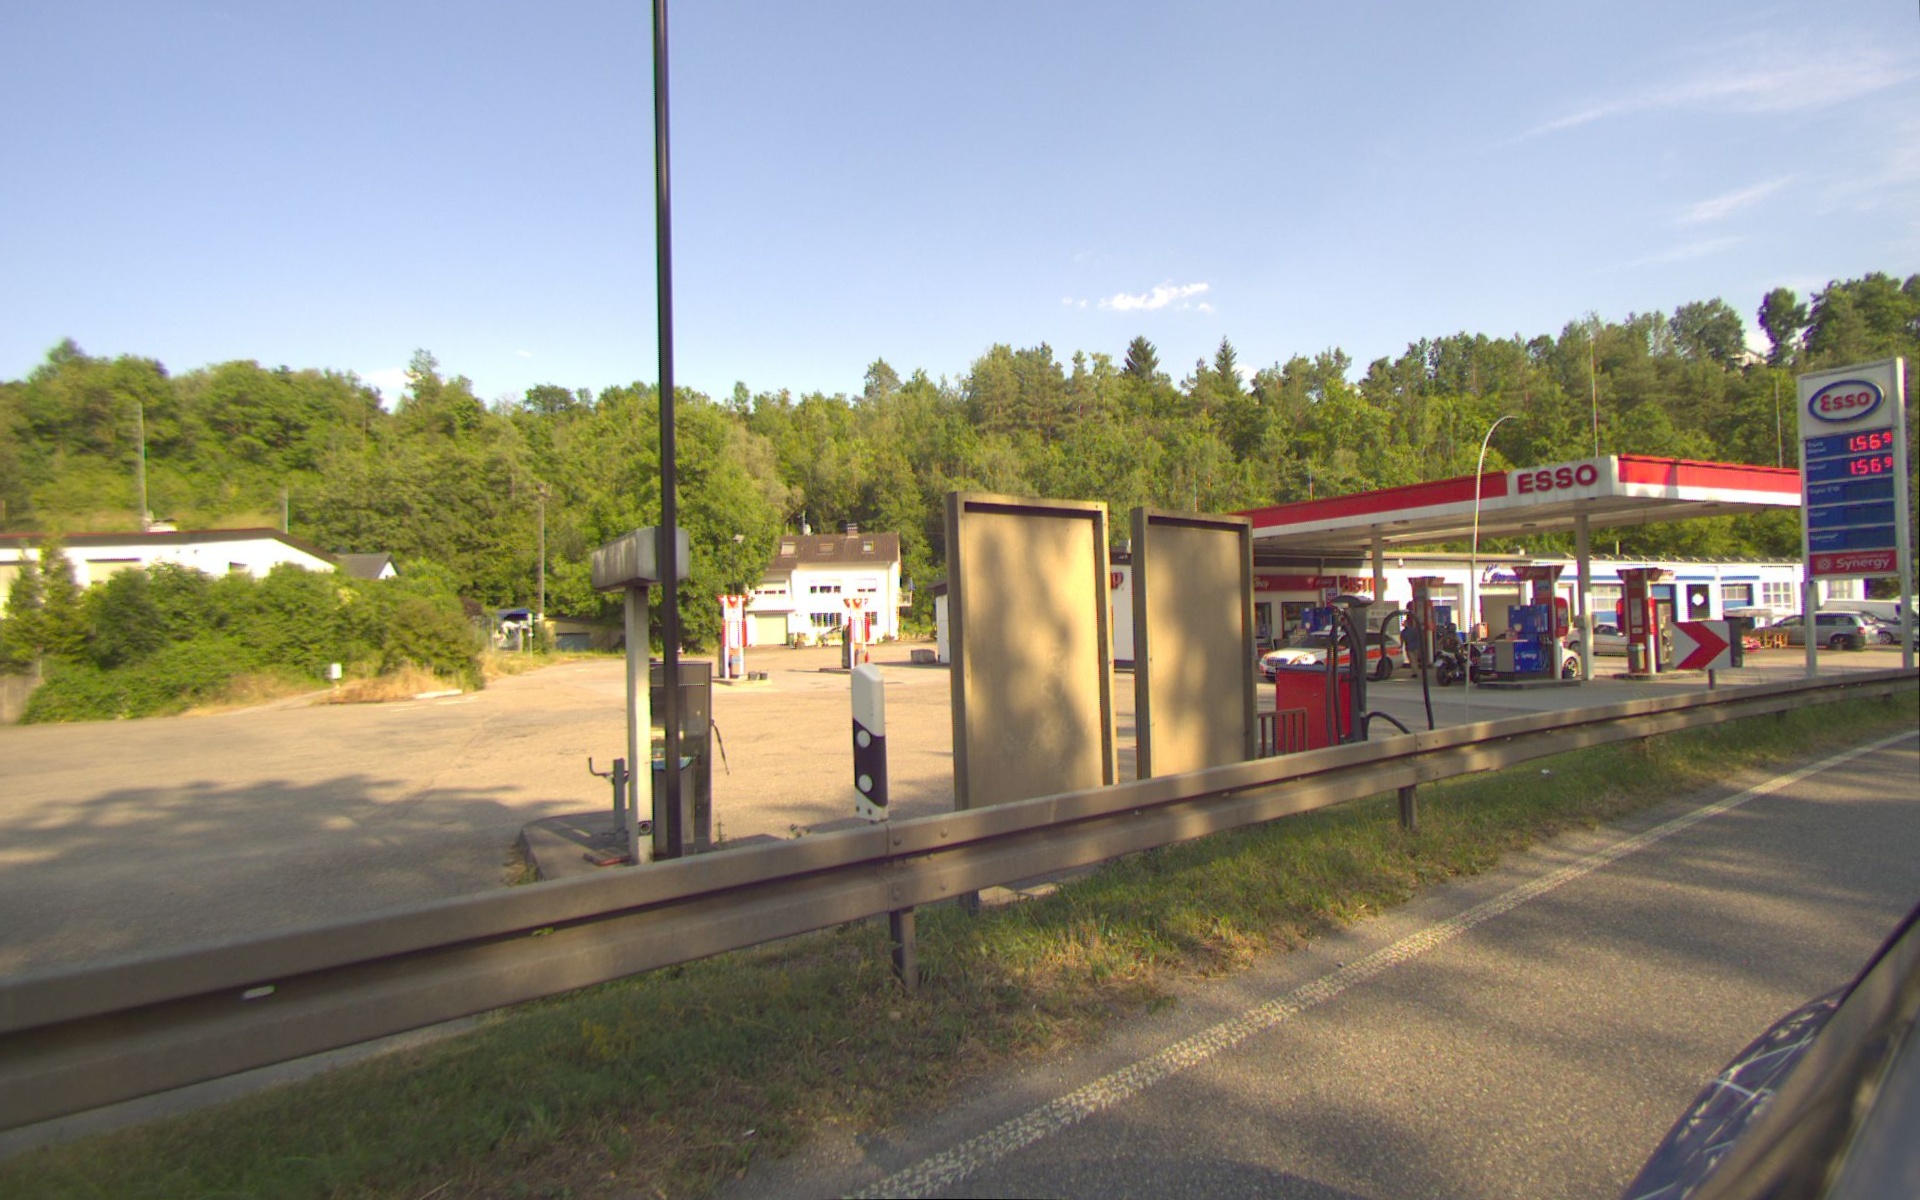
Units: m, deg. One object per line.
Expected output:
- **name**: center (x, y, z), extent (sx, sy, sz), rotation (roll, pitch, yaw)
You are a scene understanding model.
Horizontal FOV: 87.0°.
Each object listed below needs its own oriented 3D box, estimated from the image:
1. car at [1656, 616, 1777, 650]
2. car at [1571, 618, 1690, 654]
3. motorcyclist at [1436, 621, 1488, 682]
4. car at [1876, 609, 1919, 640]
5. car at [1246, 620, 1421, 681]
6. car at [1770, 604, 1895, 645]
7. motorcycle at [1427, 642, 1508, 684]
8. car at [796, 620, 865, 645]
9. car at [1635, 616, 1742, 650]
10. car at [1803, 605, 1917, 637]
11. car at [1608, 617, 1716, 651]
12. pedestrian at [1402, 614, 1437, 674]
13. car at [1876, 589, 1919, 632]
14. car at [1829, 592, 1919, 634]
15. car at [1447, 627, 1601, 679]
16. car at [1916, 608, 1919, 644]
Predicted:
- **car**: center (35.053, 1.499, 46.997), extent (1.856, 1.365, 4.086), rotation (0, 1, -27)
- **car**: center (29.012, 1.517, 43.916), extent (1.742, 1.372, 3.973), rotation (0, 1, -31)
- **motorcyclist**: center (13.591, 1.379, 27.417), extent (0.909, 1.625, 0.862), rotation (0, -2, -28)
- **car**: center (49.113, 1.260, 50.439), extent (1.918, 1.451, 4.741), rotation (0, 1, -29)
- **car**: center (11.202, 1.445, 30.283), extent (5.075, 1.649, 2.101), rotation (0, -1, -29)
- **car**: center (42.580, 1.152, 49.476), extent (1.854, 1.750, 4.266), rotation (0, 1, -30)
- **motorcycle**: center (13.805, 1.690, 27.514), extent (2.293, 1.025, 0.765), rotation (0, -1, -28)
- **car**: center (-10.052, 2.512, 78.863), extent (5.067, 1.860, 2.701), rotation (-1, -2, -1)
- **car**: center (33.152, 1.484, 46.137), extent (1.698, 1.464, 3.560), rotation (0, -1, -27)
- **car**: center (48.892, 1.114, 55.056), extent (1.856, 1.631, 4.260), rotation (0, 0, -27)
- **car**: center (31.227, 1.492, 45.109), extent (1.656, 1.424, 3.566), rotation (0, -1, -27)
- **pedestrian**: center (14.074, 1.332, 31.003), extent (0.690, 1.800, 0.620), rotation (0, -2, -27)
- **car**: center (56.565, 0.618, 58.523), extent (2.163, 2.480, 4.929), rotation (0, 1, -29)
- **car**: center (53.026, 0.702, 57.233), extent (2.248, 2.302, 5.499), rotation (0, 1, -28)
- **car**: center (16.547, 1.516, 29.676), extent (4.300, 1.336, 1.851), rotation (0, -1, -27)
- **car**: center (45.833, 1.206, 46.521), extent (3.910, 1.616, 1.797), rotation (0, 1, -32)
